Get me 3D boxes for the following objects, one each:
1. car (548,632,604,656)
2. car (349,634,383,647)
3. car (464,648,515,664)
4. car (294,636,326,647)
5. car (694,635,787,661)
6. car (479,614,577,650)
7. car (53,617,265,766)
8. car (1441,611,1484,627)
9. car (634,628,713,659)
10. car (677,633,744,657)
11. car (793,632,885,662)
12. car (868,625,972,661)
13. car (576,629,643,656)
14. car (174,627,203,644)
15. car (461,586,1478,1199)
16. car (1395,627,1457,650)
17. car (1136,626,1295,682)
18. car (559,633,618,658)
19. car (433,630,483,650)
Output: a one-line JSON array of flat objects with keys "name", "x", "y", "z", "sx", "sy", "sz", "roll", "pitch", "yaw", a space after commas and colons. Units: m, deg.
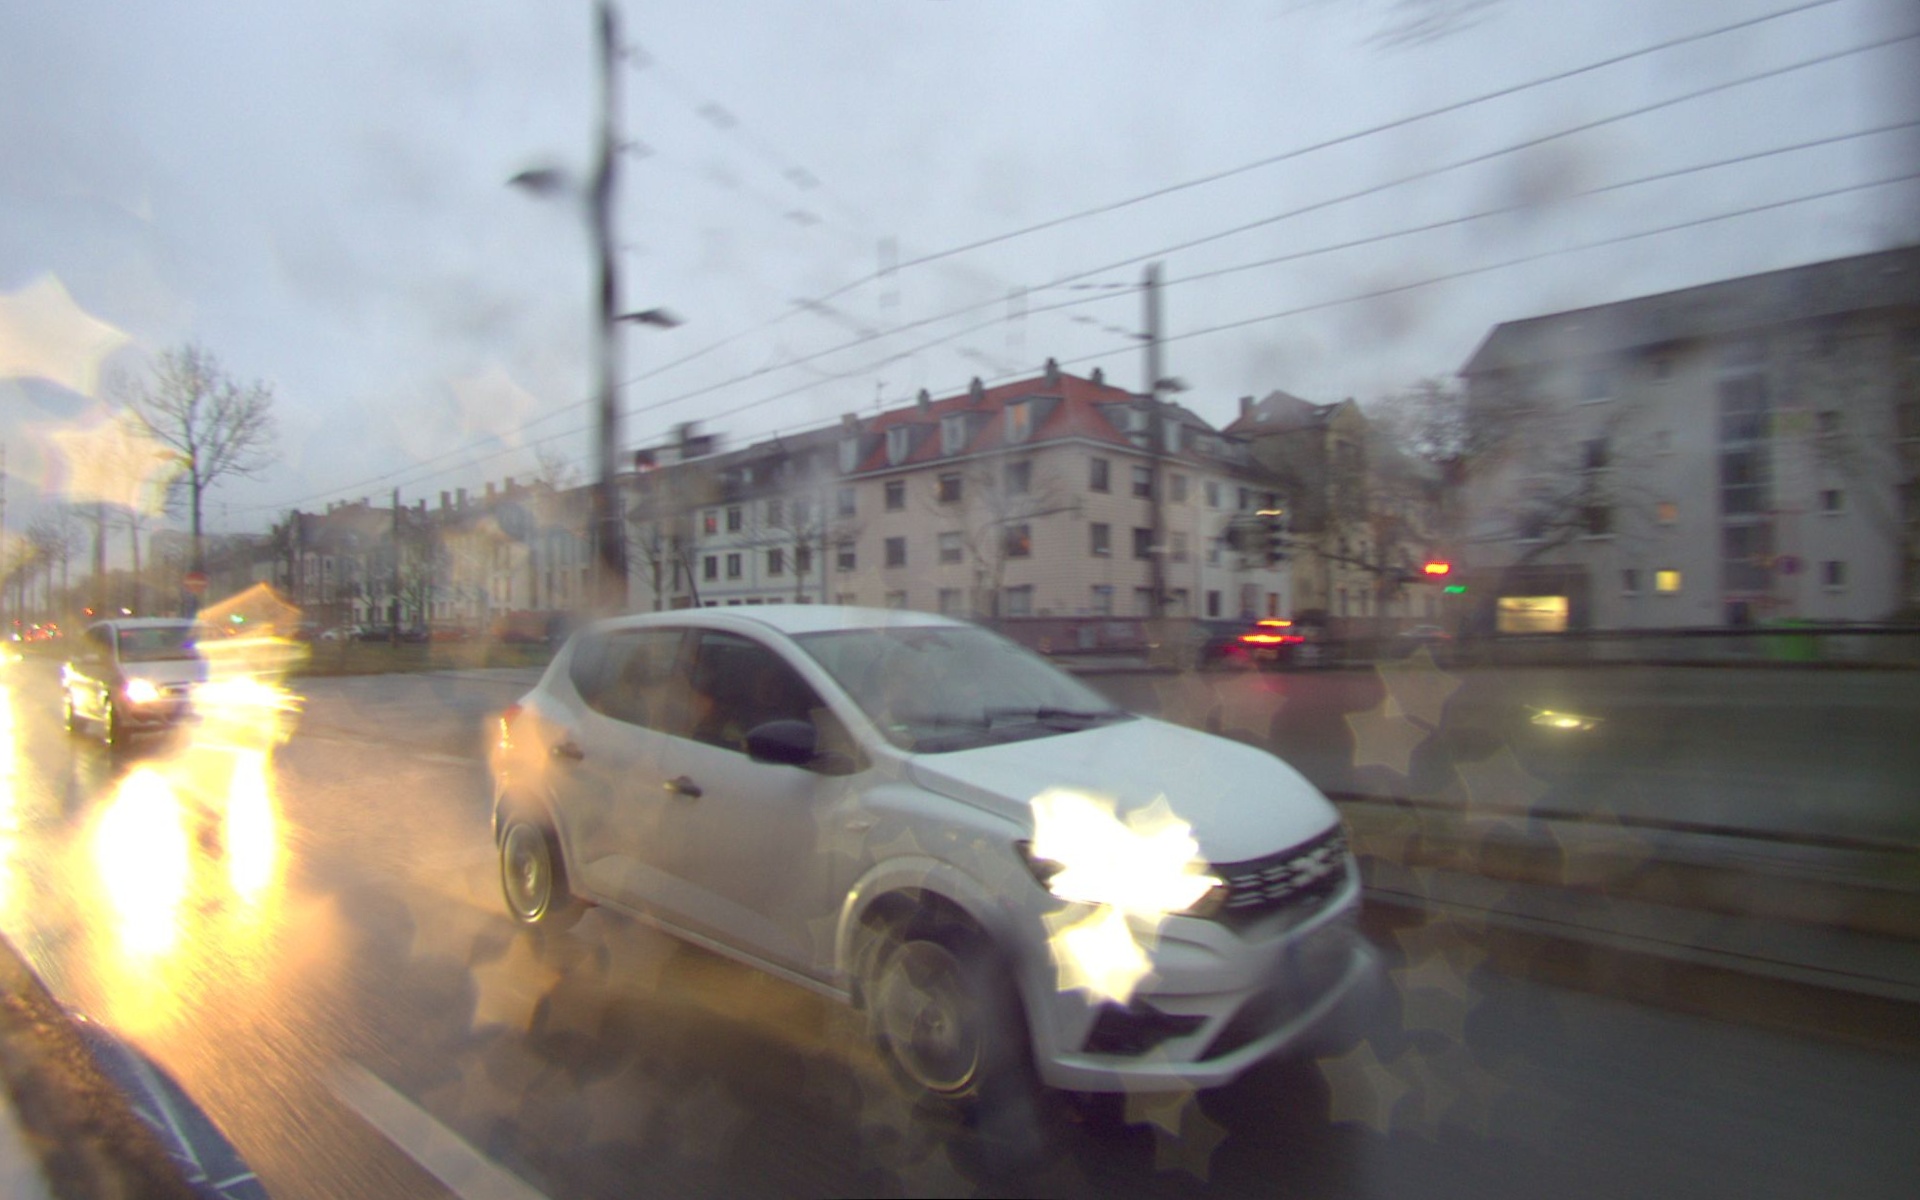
[{"name": "car", "x": -23.778, "y": 2.719, "z": 62.741, "sx": 3.057, "sy": 1.395, "sz": 1.316, "roll": -1, "pitch": -2, "yaw": -13}, {"name": "car", "x": -55.951, "y": 3.797, "z": 95.326, "sx": 2.590, "sy": 1.114, "sz": 1.256, "roll": -1, "pitch": 0, "yaw": -44}, {"name": "car", "x": -33.273, "y": 3.950, "z": 71.610, "sx": 3.057, "sy": 1.014, "sz": 1.189, "roll": -1, "pitch": -2, "yaw": -13}, {"name": "car", "x": -66.359, "y": 4.262, "z": 103.372, "sx": 2.528, "sy": 0.994, "sz": 1.259, "roll": -1, "pitch": 0, "yaw": -17}, {"name": "car", "x": -10.631, "y": 2.321, "z": 48.980, "sx": 4.332, "sy": 1.140, "sz": 1.251, "roll": 0, "pitch": 0, "yaw": -13}, {"name": "car", "x": -28.730, "y": 2.107, "z": 67.499, "sx": 5.811, "sy": 2.271, "sz": 1.826, "roll": -1, "pitch": 0, "yaw": -13}, {"name": "car", "x": -11.246, "y": 1.116, "z": 14.107, "sx": 1.992, "sy": 1.690, "sz": 4.004, "roll": -1, "pitch": 0, "yaw": -43}, {"name": "car", "x": 47.896, "y": 1.800, "z": 96.472, "sx": 3.410, "sy": 1.448, "sz": 1.411, "roll": -1, "pitch": 0, "yaw": 39}, {"name": "car", "x": -15.123, "y": 2.296, "z": 53.586, "sx": 3.947, "sy": 1.516, "sz": 1.316, "roll": -1, "pitch": 0, "yaw": -11}, {"name": "car", "x": -12.582, "y": 2.273, "z": 51.189, "sx": 3.260, "sy": 1.140, "sz": 1.316, "roll": 0, "pitch": -2, "yaw": -13}, {"name": "car", "x": -5.358, "y": 2.045, "z": 44.685, "sx": 3.934, "sy": 1.140, "sz": 1.365, "roll": -1, "pitch": 0, "yaw": -11}, {"name": "car", "x": -1.610, "y": 1.700, "z": 40.361, "sx": 3.933, "sy": 1.265, "sz": 1.448, "roll": -1, "pitch": 0, "yaw": -13}, {"name": "car", "x": -20.107, "y": 2.438, "z": 58.127, "sx": 3.548, "sy": 1.395, "sz": 1.317, "roll": -1, "pitch": -2, "yaw": -15}, {"name": "car", "x": -92.666, "y": 4.244, "z": 121.523, "sx": 3.998, "sy": 2.029, "sz": 1.973, "roll": -1, "pitch": 0, "yaw": 41}, {"name": "car", "x": -0.300, "y": 0.730, "z": 4.117, "sx": 3.998, "sy": 1.477, "sz": 1.690, "roll": -1, "pitch": 0, "yaw": 41}, {"name": "car", "x": 31.231, "y": 2.610, "z": 67.945, "sx": 3.516, "sy": 1.448, "sz": 1.550, "roll": -1, "pitch": 0, "yaw": 16}, {"name": "car", "x": 6.965, "y": 1.427, "z": 27.800, "sx": 4.000, "sy": 1.378, "sz": 1.499, "roll": -1, "pitch": 0, "yaw": 43}, {"name": "car", "x": -22.189, "y": 2.717, "z": 60.518, "sx": 3.153, "sy": 1.395, "sz": 1.317, "roll": -1, "pitch": -2, "yaw": -15}, {"name": "car", "x": -38.071, "y": 3.011, "z": 76.742, "sx": 3.151, "sy": 1.326, "sz": 1.556, "roll": -1, "pitch": 0, "yaw": -17}]
